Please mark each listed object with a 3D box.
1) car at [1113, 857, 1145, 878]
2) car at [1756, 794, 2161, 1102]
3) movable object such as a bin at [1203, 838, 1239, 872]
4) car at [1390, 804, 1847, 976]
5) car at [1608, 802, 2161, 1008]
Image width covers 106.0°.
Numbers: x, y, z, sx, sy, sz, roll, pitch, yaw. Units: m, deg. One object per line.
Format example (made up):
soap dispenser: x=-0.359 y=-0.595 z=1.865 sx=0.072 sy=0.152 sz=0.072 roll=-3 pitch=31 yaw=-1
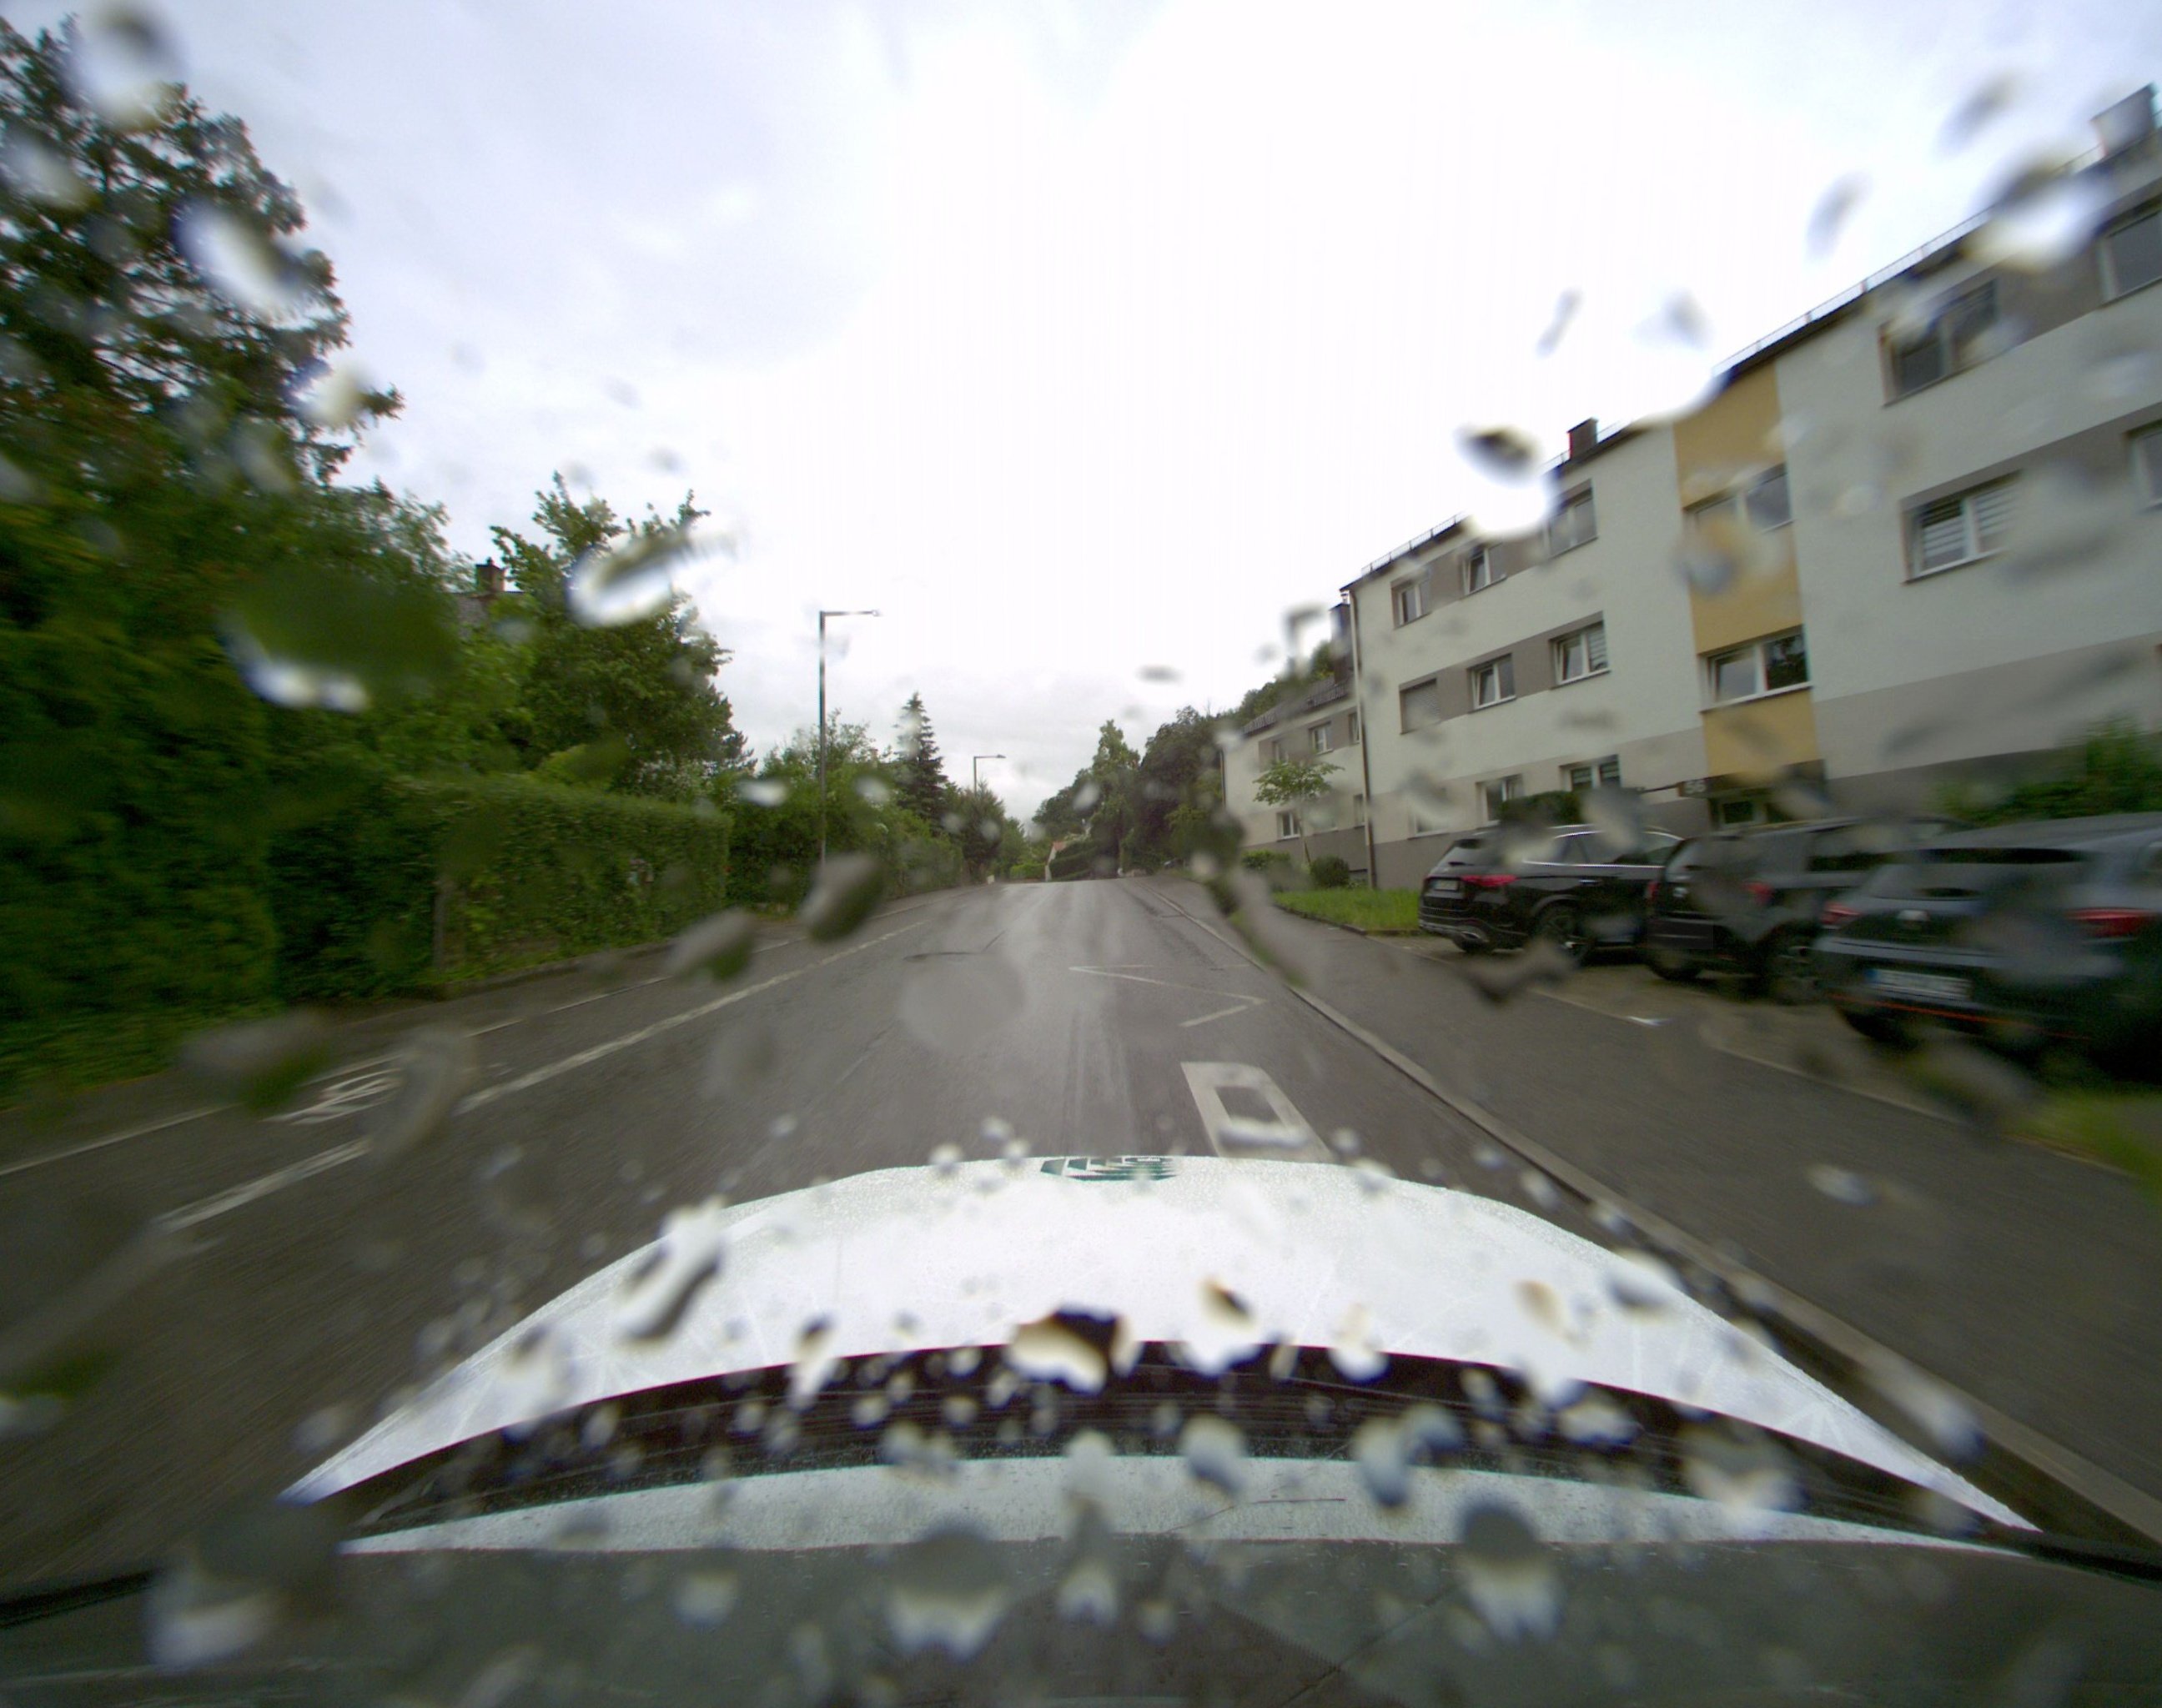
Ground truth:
car: x=4.218 y=1.189 z=71.721 sx=1.535 sy=1.535 sz=3.825 roll=-7 pitch=-1 yaw=-15
car: x=6.615 y=0.370 z=4.861 sx=3.732 sy=1.458 sz=1.724 roll=-3 pitch=0 yaw=-1
movable object such as a bin: x=6.497 y=0.043 z=37.869 sx=1.249 sy=1.497 sz=0.973 roll=-3 pitch=-1 yaw=-34
car: x=6.428 y=0.374 z=10.029 sx=4.520 sy=1.660 sz=1.852 roll=-3 pitch=0 yaw=-6
car: x=7.114 y=0.405 z=7.479 sx=3.428 sy=1.496 sz=1.667 roll=-3 pitch=0 yaw=-1
